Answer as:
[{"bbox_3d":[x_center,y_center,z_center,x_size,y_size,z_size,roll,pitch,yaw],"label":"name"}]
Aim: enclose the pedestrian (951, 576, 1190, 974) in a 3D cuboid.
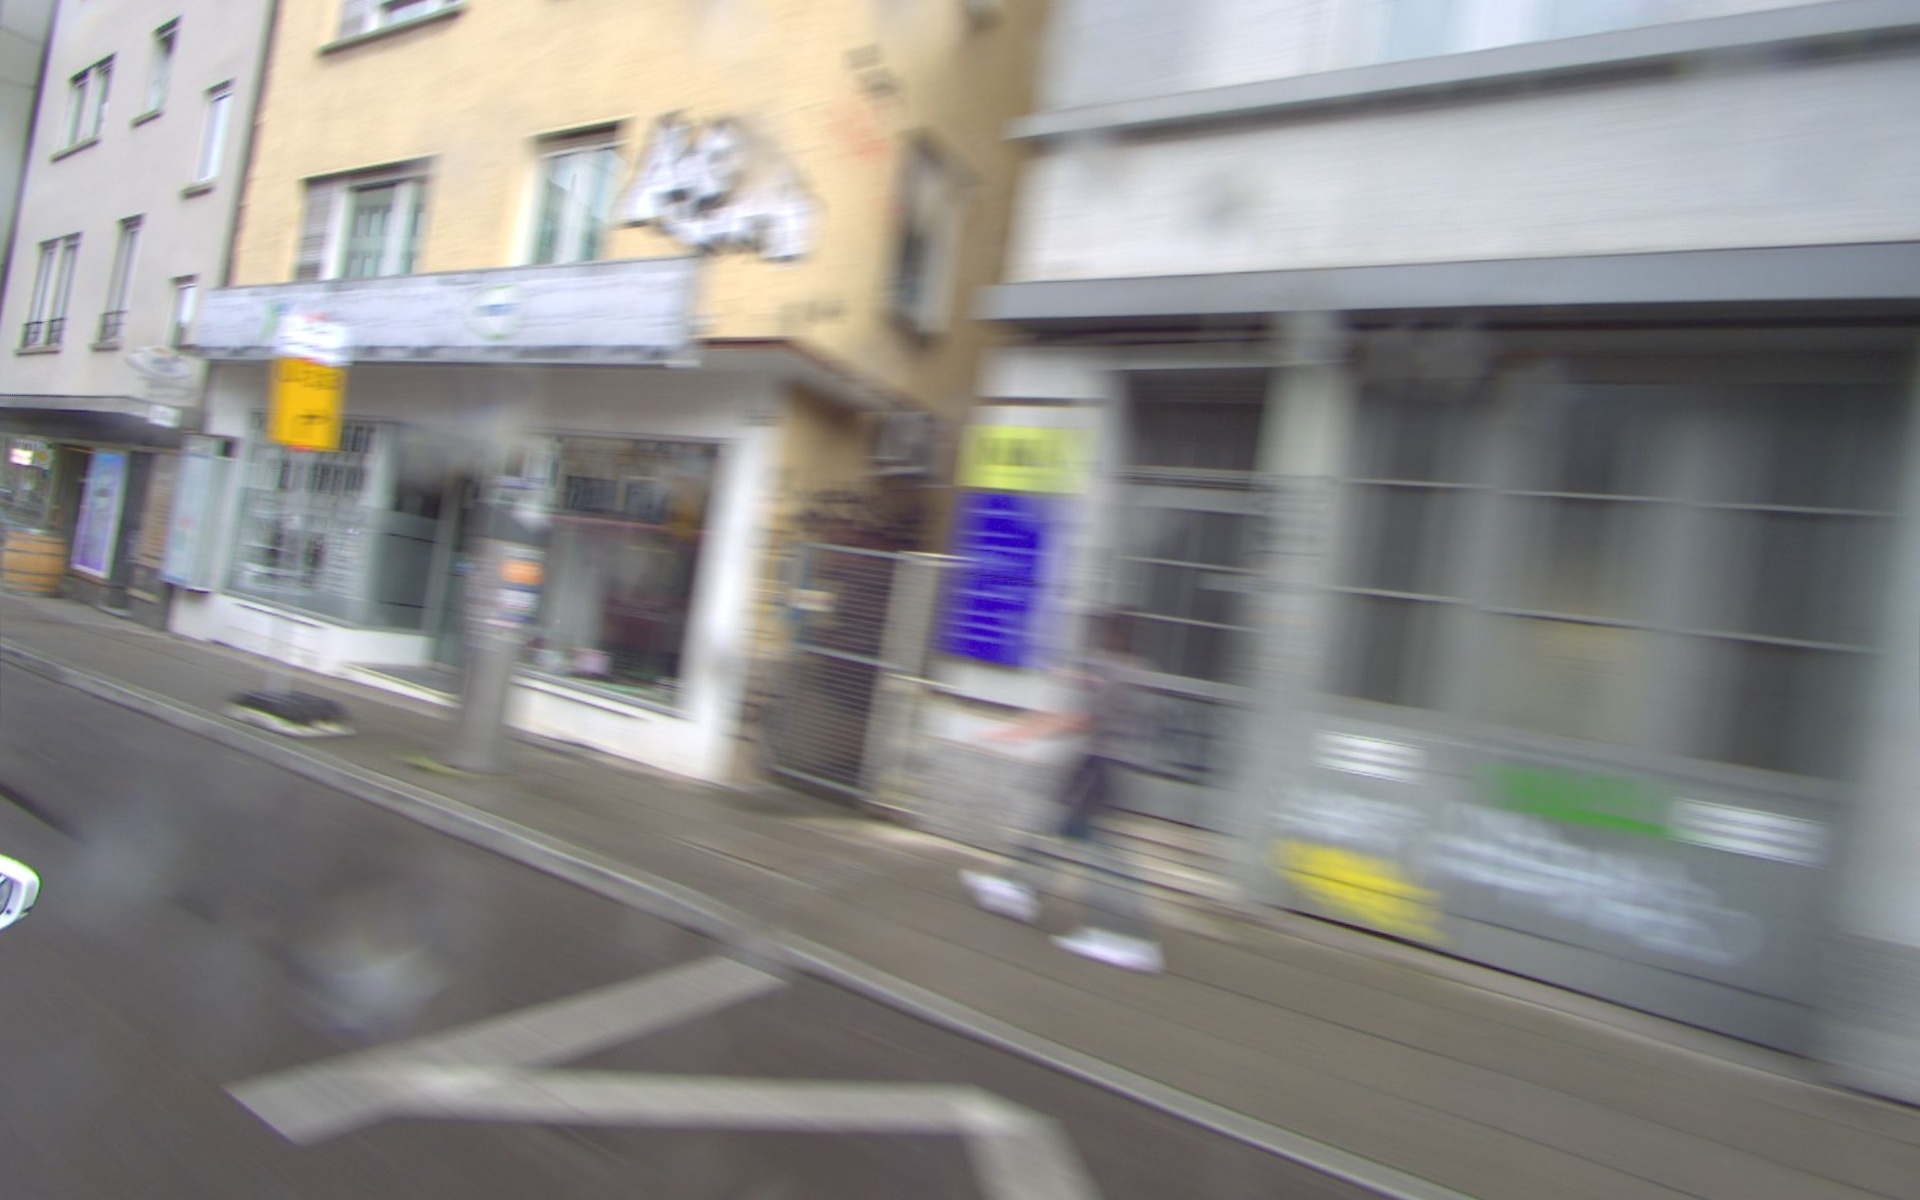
[{"bbox_3d":[0.548,0.775,4.884,0.709,1.681,0.791,8,3,31],"label":"pedestrian"}]
